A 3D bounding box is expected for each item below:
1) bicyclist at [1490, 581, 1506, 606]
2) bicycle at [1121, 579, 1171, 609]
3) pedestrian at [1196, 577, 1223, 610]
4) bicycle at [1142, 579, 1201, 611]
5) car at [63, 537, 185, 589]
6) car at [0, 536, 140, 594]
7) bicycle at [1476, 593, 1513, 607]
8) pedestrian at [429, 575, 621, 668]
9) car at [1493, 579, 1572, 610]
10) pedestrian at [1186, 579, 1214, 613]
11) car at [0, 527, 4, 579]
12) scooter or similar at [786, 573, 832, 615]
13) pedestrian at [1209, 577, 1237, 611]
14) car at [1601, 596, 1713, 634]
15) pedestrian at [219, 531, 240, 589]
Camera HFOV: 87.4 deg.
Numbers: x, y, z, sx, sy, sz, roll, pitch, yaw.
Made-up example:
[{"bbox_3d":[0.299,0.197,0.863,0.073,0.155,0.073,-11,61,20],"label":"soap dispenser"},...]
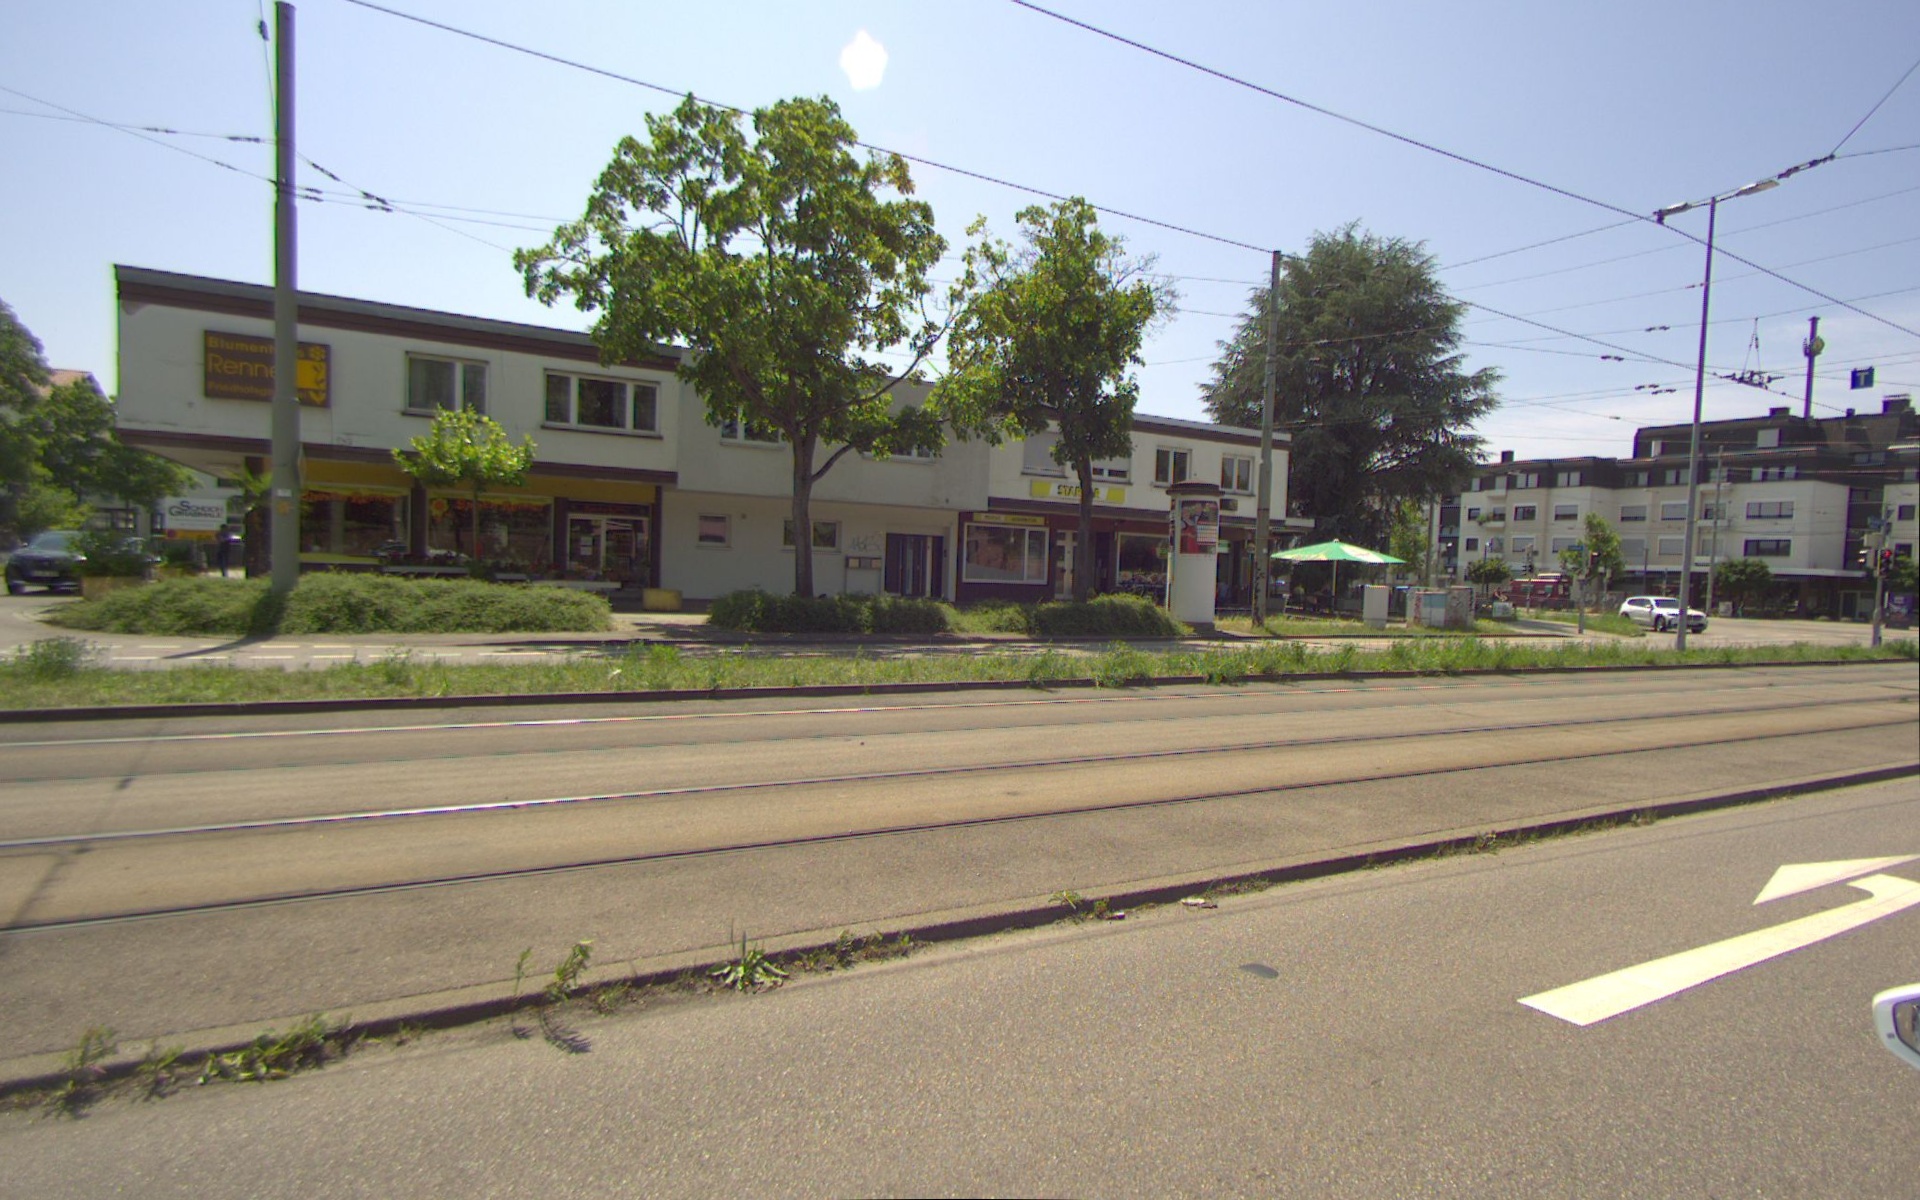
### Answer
[{"bbox_3d":[33.369,-0.378,62.264,0.741,1.521,0.479,2,1,40],"label":"bicyclist"},{"bbox_3d":[6.472,-0.203,34.923,1.738,0.992,0.536,2,0,-30],"label":"bicycle"},{"bbox_3d":[9.803,-0.255,39.473,0.832,1.285,0.586,2,1,-30],"label":"pedestrian"},{"bbox_3d":[7.126,-0.177,33.786,2.005,0.992,0.607,2,0,-30],"label":"bicycle"},{"bbox_3d":[-25.489,-1.087,30.796,1.975,1.440,4.115,1,0,-27],"label":"car"},{"bbox_3d":[-22.252,-0.890,25.279,1.660,1.314,3.971,0,2,-27],"label":"car"},{"bbox_3d":[33.212,-0.031,62.391,1.957,0.794,0.464,2,1,40],"label":"bicycle"},{"bbox_3d":[-10.322,0.512,23.862,3.953,2.040,1.984,2,0,-30],"label":"pedestrian"},{"bbox_3d":[45.700,-0.457,80.269,2.219,2.372,5.039,2,0,-30],"label":"car"},{"bbox_3d":[9.172,-0.155,38.384,0.832,1.285,0.586,2,1,-30],"label":"pedestrian"},{"bbox_3d":[-30.962,-1.510,30.423,1.780,1.678,3.972,2,0,-27],"label":"car"},{"bbox_3d":[-4.537,-0.187,30.241,1.321,1.207,0.455,2,1,-10],"label":"scooter or similar"},{"bbox_3d":[10.162,-0.237,38.836,0.832,1.285,0.586,2,1,-30],"label":"pedestrian"},{"bbox_3d":[32.872,0.666,47.553,1.697,1.632,4.564,2,0,-7],"label":"car"},{"bbox_3d":[-23.201,-1.258,31.908,0.466,1.823,0.484,2,1,-30],"label":"pedestrian"}]
